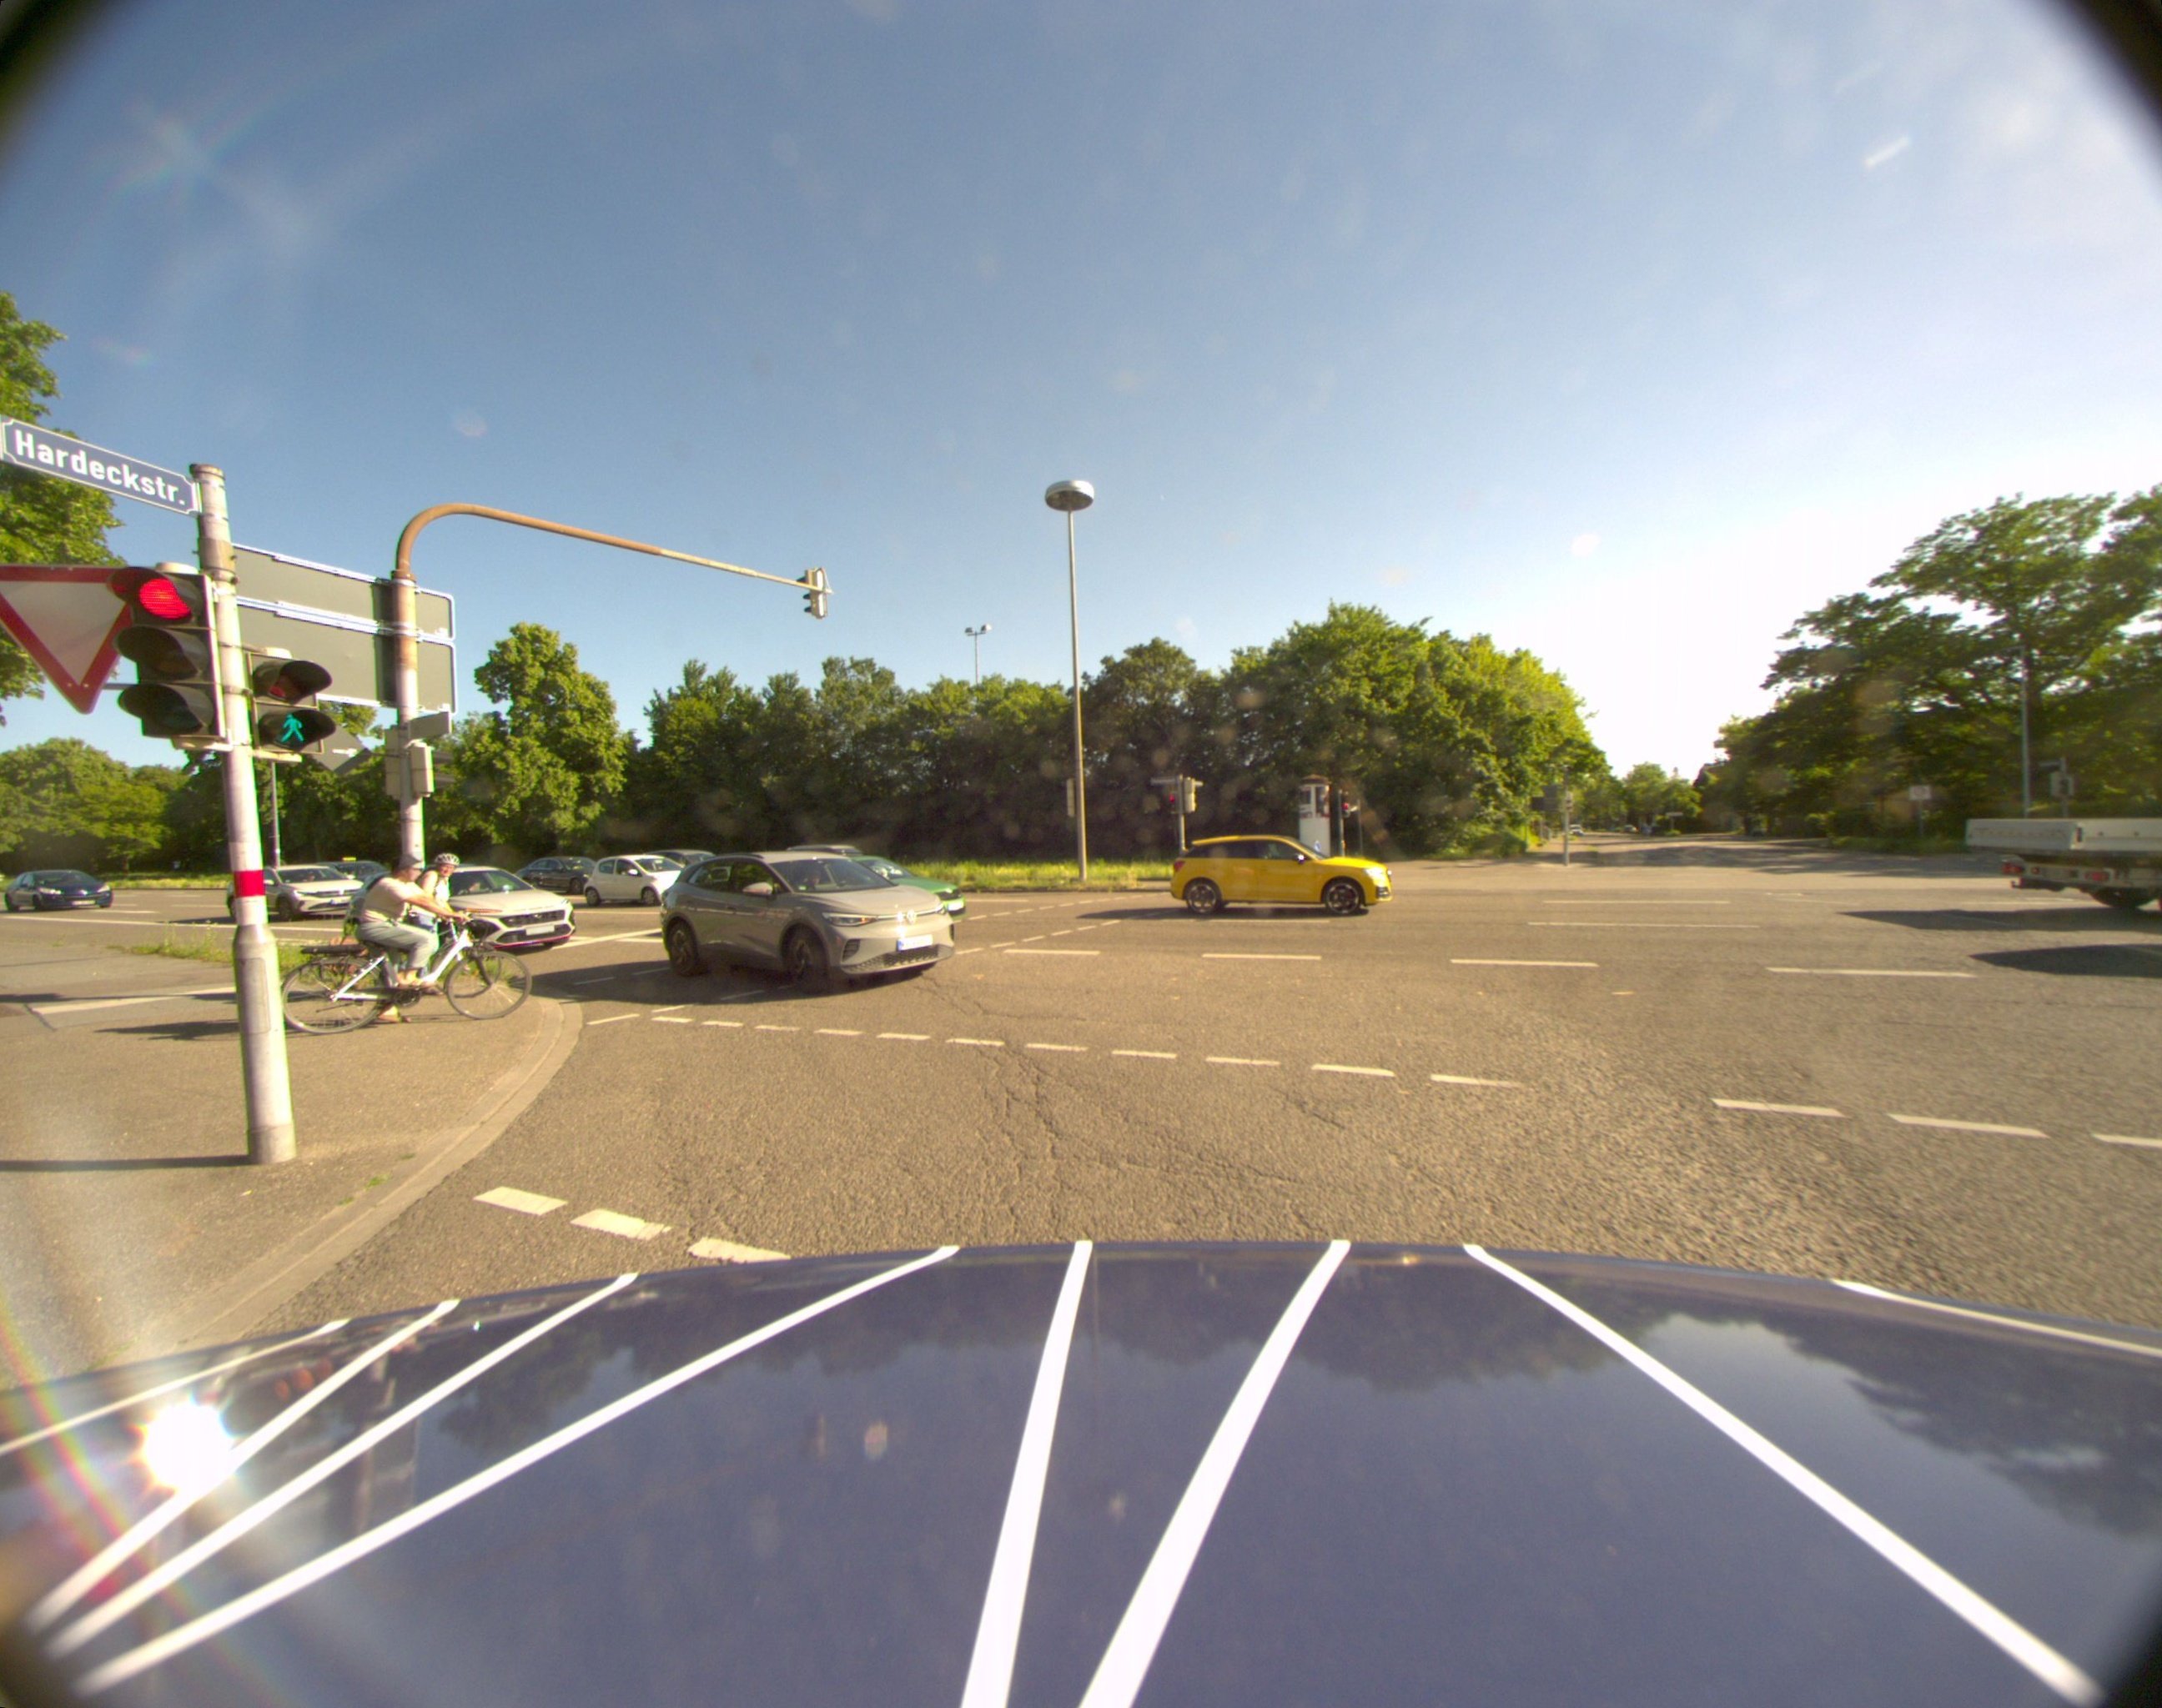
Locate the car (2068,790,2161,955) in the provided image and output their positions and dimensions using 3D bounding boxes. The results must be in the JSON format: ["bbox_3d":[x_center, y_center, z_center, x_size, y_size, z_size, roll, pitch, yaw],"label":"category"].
[{"bbox_3d":[13.565,0.169,7.417,4.354,1.719,1.923,-1,4,24],"label":"car"}]

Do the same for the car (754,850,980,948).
[{"bbox_3d":[-4.211,0.741,14.640,4.351,1.478,1.924,1,5,38],"label":"car"}]

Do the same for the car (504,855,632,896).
[{"bbox_3d":[-19.393,0.801,28.738,4.345,1.397,1.839,-1,2,22],"label":"car"}]

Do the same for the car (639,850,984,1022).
[{"bbox_3d":[-3.594,0.837,9.867,4.352,1.632,1.997,0,4,36],"label":"car"}]

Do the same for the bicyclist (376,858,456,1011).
[{"bbox_3d":[-7.663,0.901,8.777,0.586,1.687,0.525,1,2,-27],"label":"bicyclist"}]

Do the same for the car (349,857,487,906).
[{"bbox_3d":[-23.484,0.973,26.948,3.992,1.533,1.625,-1,4,15],"label":"car"}]

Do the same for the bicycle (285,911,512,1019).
[{"bbox_3d":[-7.760,1.228,8.748,1.873,1.070,0.529,1,2,-28],"label":"bicycle"}]

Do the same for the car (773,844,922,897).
[{"bbox_3d":[-7.299,0.485,23.751,4.185,1.529,1.839,-1,1,22],"label":"car"}]

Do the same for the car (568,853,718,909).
[{"bbox_3d":[-12.866,0.752,22.352,3.902,1.432,1.694,-1,4,22],"label":"car"}]

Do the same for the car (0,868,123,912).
[{"bbox_3d":[-37.956,1.310,28.286,3.902,1.432,1.694,-1,4,22],"label":"car"}]

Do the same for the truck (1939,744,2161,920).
[{"bbox_3d":[16.698,-0.347,10.091,6.758,2.296,2.194,-1,2,22],"label":"truck"}]

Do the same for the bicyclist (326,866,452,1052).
[{"bbox_3d":[-6.553,0.948,7.199,0.810,1.626,0.541,2,1,-45],"label":"bicyclist"}]

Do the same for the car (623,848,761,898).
[{"bbox_3d":[-13.413,0.622,26.240,4.233,1.566,1.882,-1,2,22],"label":"car"}]

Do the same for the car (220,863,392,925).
[{"bbox_3d":[-22.149,1.078,21.720,4.354,1.478,1.923,-1,4,24],"label":"car"}]

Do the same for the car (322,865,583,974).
[{"bbox_3d":[-11.065,1.057,13.391,4.111,1.565,1.694,-1,4,22],"label":"car"}]

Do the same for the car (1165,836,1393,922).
[{"bbox_3d":[3.883,0.441,14.886,4.111,1.432,1.694,-1,4,22],"label":"car"}]

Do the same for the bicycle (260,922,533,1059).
[{"bbox_3d":[-6.490,1.239,7.319,1.874,1.070,0.529,2,1,-44],"label":"bicycle"}]
